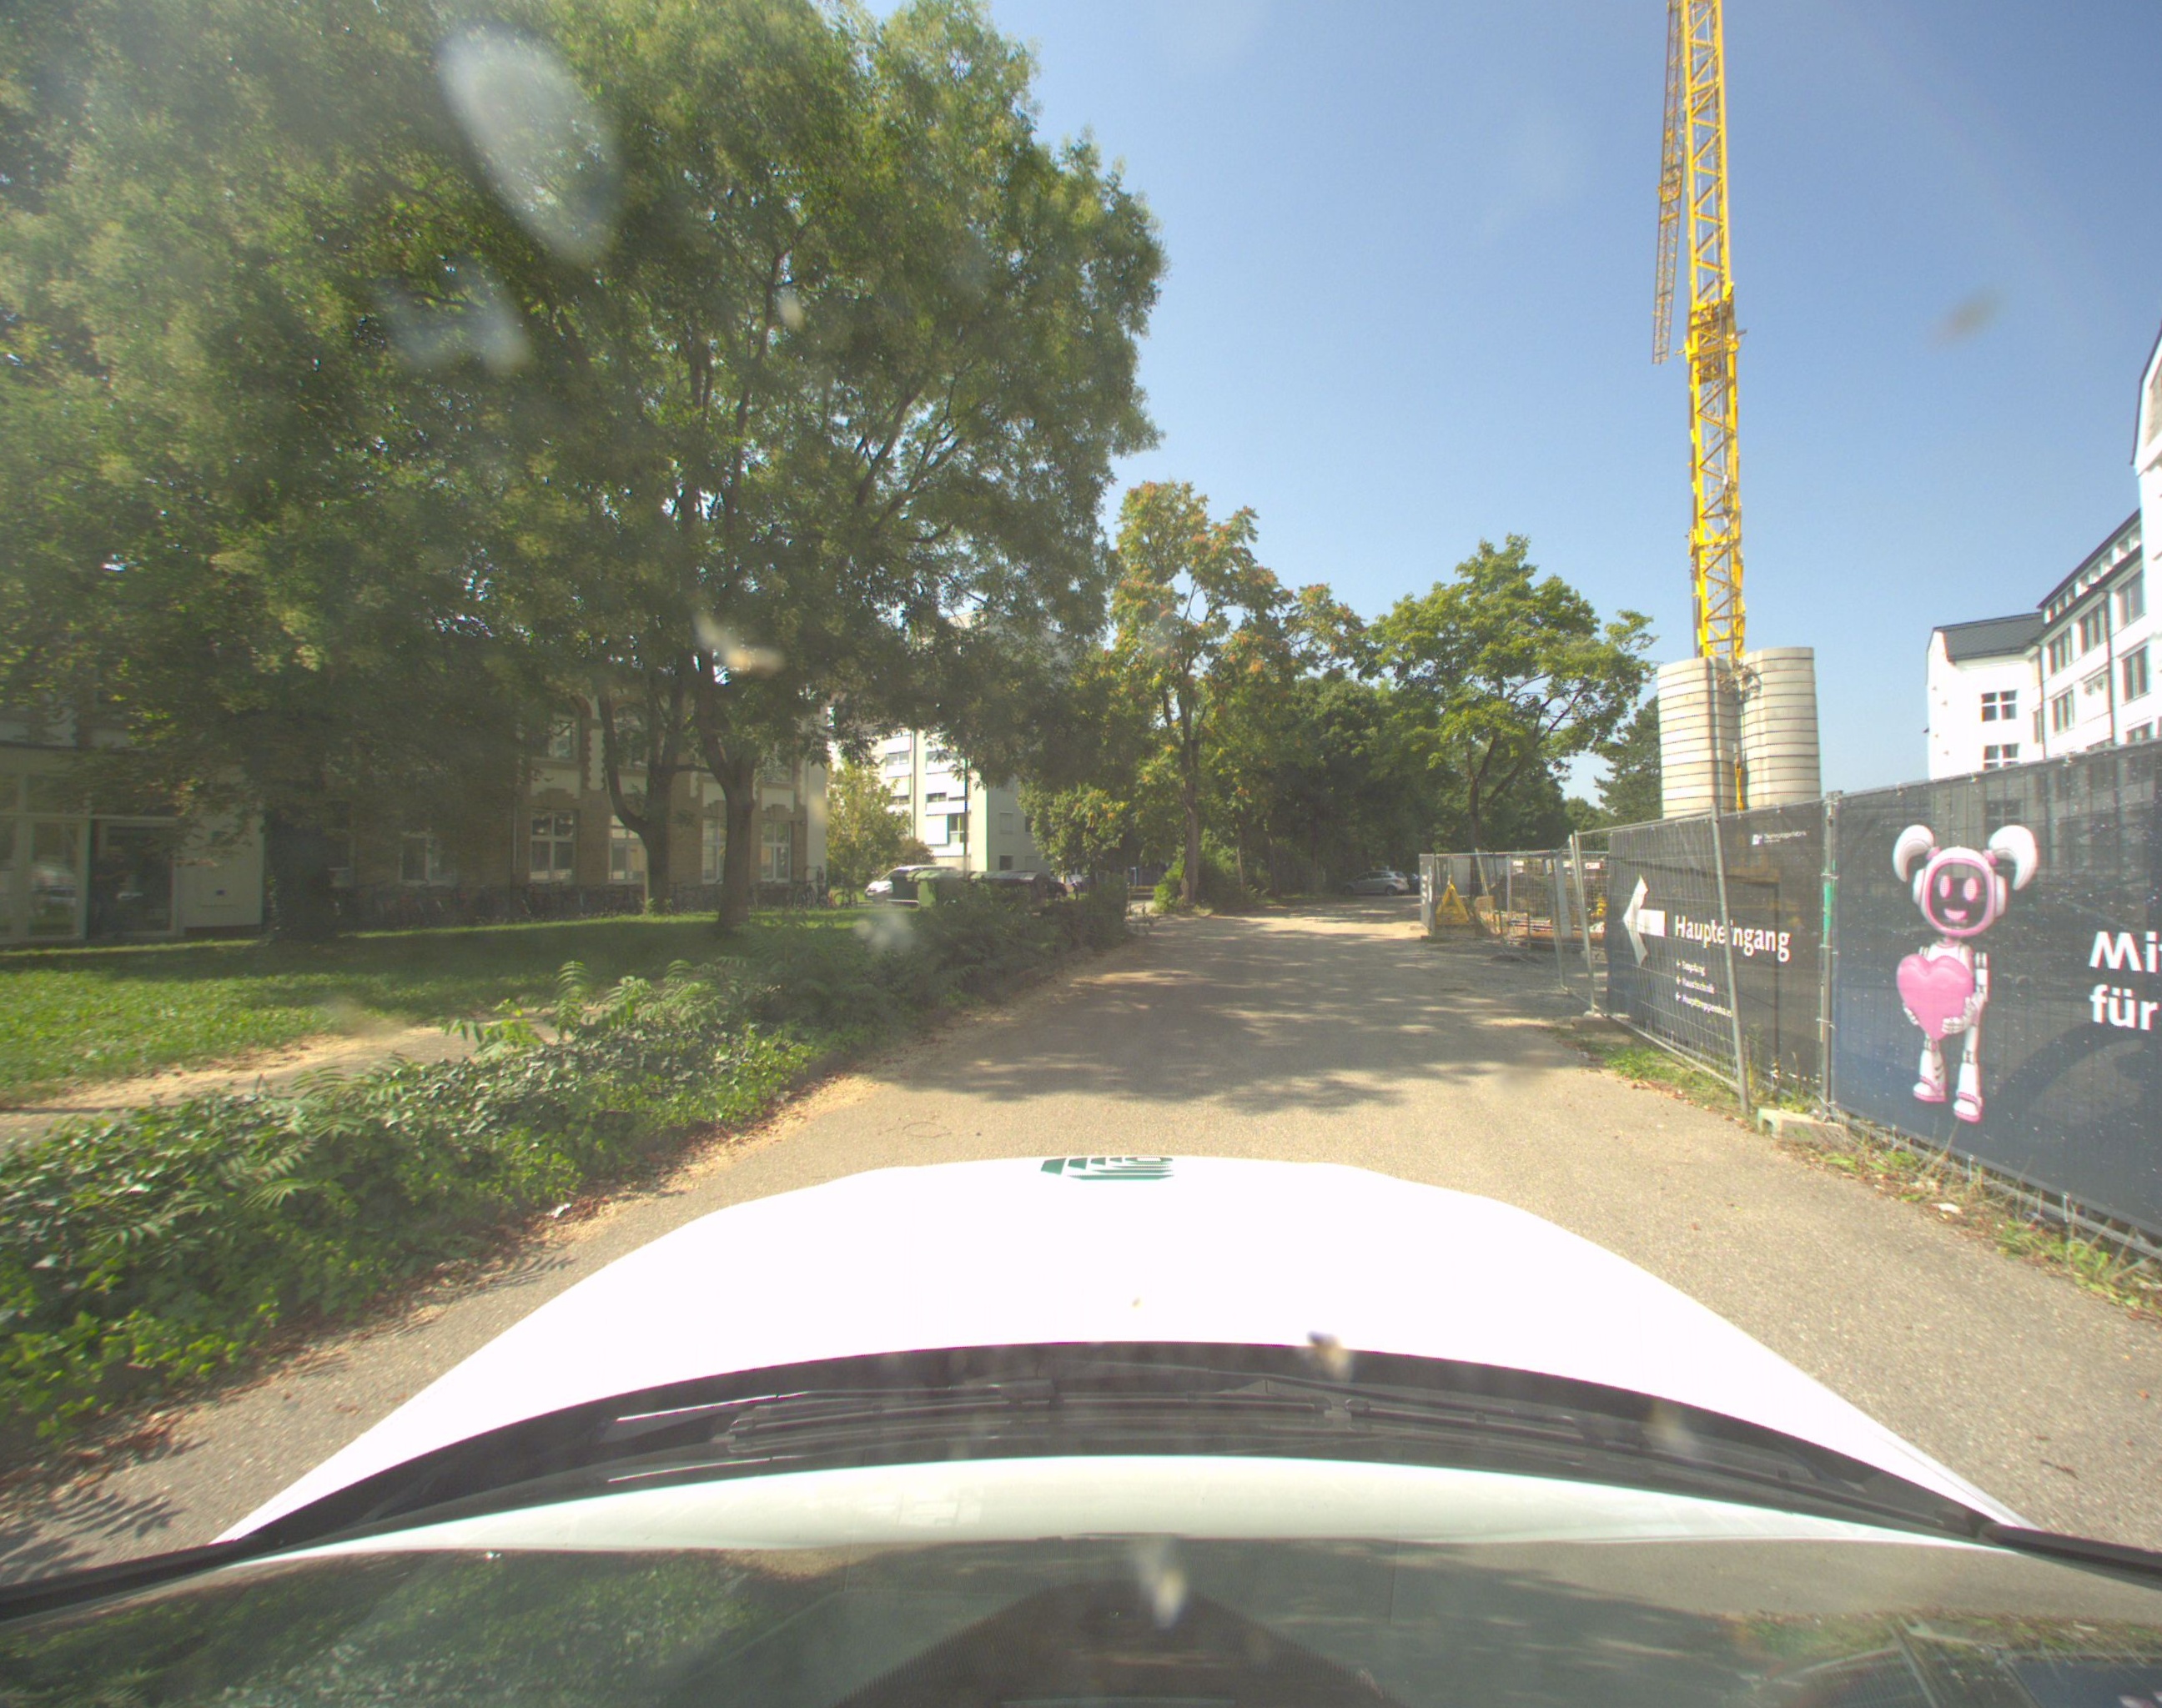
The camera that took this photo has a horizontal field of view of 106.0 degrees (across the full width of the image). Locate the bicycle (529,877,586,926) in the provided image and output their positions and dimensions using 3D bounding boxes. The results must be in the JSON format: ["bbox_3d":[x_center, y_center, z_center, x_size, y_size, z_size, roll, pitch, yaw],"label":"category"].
[{"bbox_3d":[-14.657,1.316,22.780,2.244,1.303,0.776,-3,-3,43],"label":"bicycle"}]

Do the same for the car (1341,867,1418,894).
[{"bbox_3d":[18.903,1.625,51.623,4.108,1.613,2.012,-1,-1,40],"label":"car"}]

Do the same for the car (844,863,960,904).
[{"bbox_3d":[-8.814,1.425,40.450,2.470,1.881,5.115,-2,-2,42],"label":"car"}]

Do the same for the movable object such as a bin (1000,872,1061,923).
[{"bbox_3d":[-1.539,1.296,24.865,1.356,1.493,1.343,0,-2,25],"label":"movable object such as a bin"}]

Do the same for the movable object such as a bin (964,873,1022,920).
[{"bbox_3d":[-2.773,1.336,25.843,1.315,1.432,1.257,0,-2,33],"label":"movable object such as a bin"}]

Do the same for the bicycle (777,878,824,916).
[{"bbox_3d":[-9.860,1.504,28.572,2.146,1.303,0.613,-3,-3,43],"label":"bicycle"}]

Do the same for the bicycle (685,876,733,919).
[{"bbox_3d":[-11.924,1.383,26.052,2.146,1.303,0.613,-3,-3,43],"label":"bicycle"}]

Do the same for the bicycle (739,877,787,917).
[{"bbox_3d":[-10.768,1.434,27.539,2.146,1.303,0.613,-3,-3,43],"label":"bicycle"}]

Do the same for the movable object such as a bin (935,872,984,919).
[{"bbox_3d":[-3.915,1.319,26.336,1.087,1.482,1.108,0,-2,33],"label":"movable object such as a bin"}]

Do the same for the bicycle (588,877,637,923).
[{"bbox_3d":[-13.784,1.336,23.942,2.146,1.303,0.613,-3,-3,43],"label":"bicycle"}]

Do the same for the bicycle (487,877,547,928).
[{"bbox_3d":[-15.279,1.289,22.034,2.494,1.303,0.776,-3,-3,43],"label":"bicycle"}]

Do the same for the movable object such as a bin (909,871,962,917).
[{"bbox_3d":[-4.883,1.319,27.387,1.191,1.496,1.257,0,-2,33],"label":"movable object such as a bin"}]

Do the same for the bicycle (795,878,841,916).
[{"bbox_3d":[-9.414,1.516,29.103,2.146,1.303,0.613,-3,-3,43],"label":"bicycle"}]

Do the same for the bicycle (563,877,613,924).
[{"bbox_3d":[-14.196,1.321,23.418,2.244,1.303,0.631,-3,-3,43],"label":"bicycle"}]

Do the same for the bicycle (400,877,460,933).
[{"bbox_3d":[-16.239,1.249,20.296,2.494,1.303,0.776,-3,-3,43],"label":"bicycle"}]

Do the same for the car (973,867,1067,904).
[{"bbox_3d":[-2.588,1.328,35.369,3.934,1.528,1.686,1,-2,-45],"label":"car"}]

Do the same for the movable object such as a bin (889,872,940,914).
[{"bbox_3d":[-5.889,1.359,28.846,1.191,1.444,1.257,0,-2,33],"label":"movable object such as a bin"}]

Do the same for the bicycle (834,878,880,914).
[{"bbox_3d":[-8.383,1.565,30.447,2.146,1.303,0.613,-3,-3,43],"label":"bicycle"}]

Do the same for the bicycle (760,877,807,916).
[{"bbox_3d":[-10.237,1.456,27.987,2.146,1.303,0.613,-3,-3,43],"label":"bicycle"}]

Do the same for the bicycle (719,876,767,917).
[{"bbox_3d":[-11.164,1.391,26.866,2.146,1.303,0.613,-3,-3,43],"label":"bicycle"}]

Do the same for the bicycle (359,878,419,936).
[{"bbox_3d":[-16.659,1.244,19.586,2.494,1.303,0.776,-3,-3,43],"label":"bicycle"}]

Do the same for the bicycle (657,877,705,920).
[{"bbox_3d":[-12.468,1.375,25.365,2.146,1.303,0.613,-3,-3,43],"label":"bicycle"}]

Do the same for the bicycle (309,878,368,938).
[{"bbox_3d":[-17.353,1.232,19.008,2.494,1.303,0.776,-3,-3,43],"label":"bicycle"}]

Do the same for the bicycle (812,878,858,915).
[{"bbox_3d":[-8.960,1.545,29.621,2.146,1.303,0.613,-3,-3,43],"label":"bicycle"}]

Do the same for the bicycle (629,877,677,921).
[{"bbox_3d":[-13.112,1.364,24.900,2.146,1.303,0.613,-3,-3,43],"label":"bicycle"}]

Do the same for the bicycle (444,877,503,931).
[{"bbox_3d":[-15.729,1.278,21.061,2.494,1.303,0.776,-3,-3,43],"label":"bicycle"}]
